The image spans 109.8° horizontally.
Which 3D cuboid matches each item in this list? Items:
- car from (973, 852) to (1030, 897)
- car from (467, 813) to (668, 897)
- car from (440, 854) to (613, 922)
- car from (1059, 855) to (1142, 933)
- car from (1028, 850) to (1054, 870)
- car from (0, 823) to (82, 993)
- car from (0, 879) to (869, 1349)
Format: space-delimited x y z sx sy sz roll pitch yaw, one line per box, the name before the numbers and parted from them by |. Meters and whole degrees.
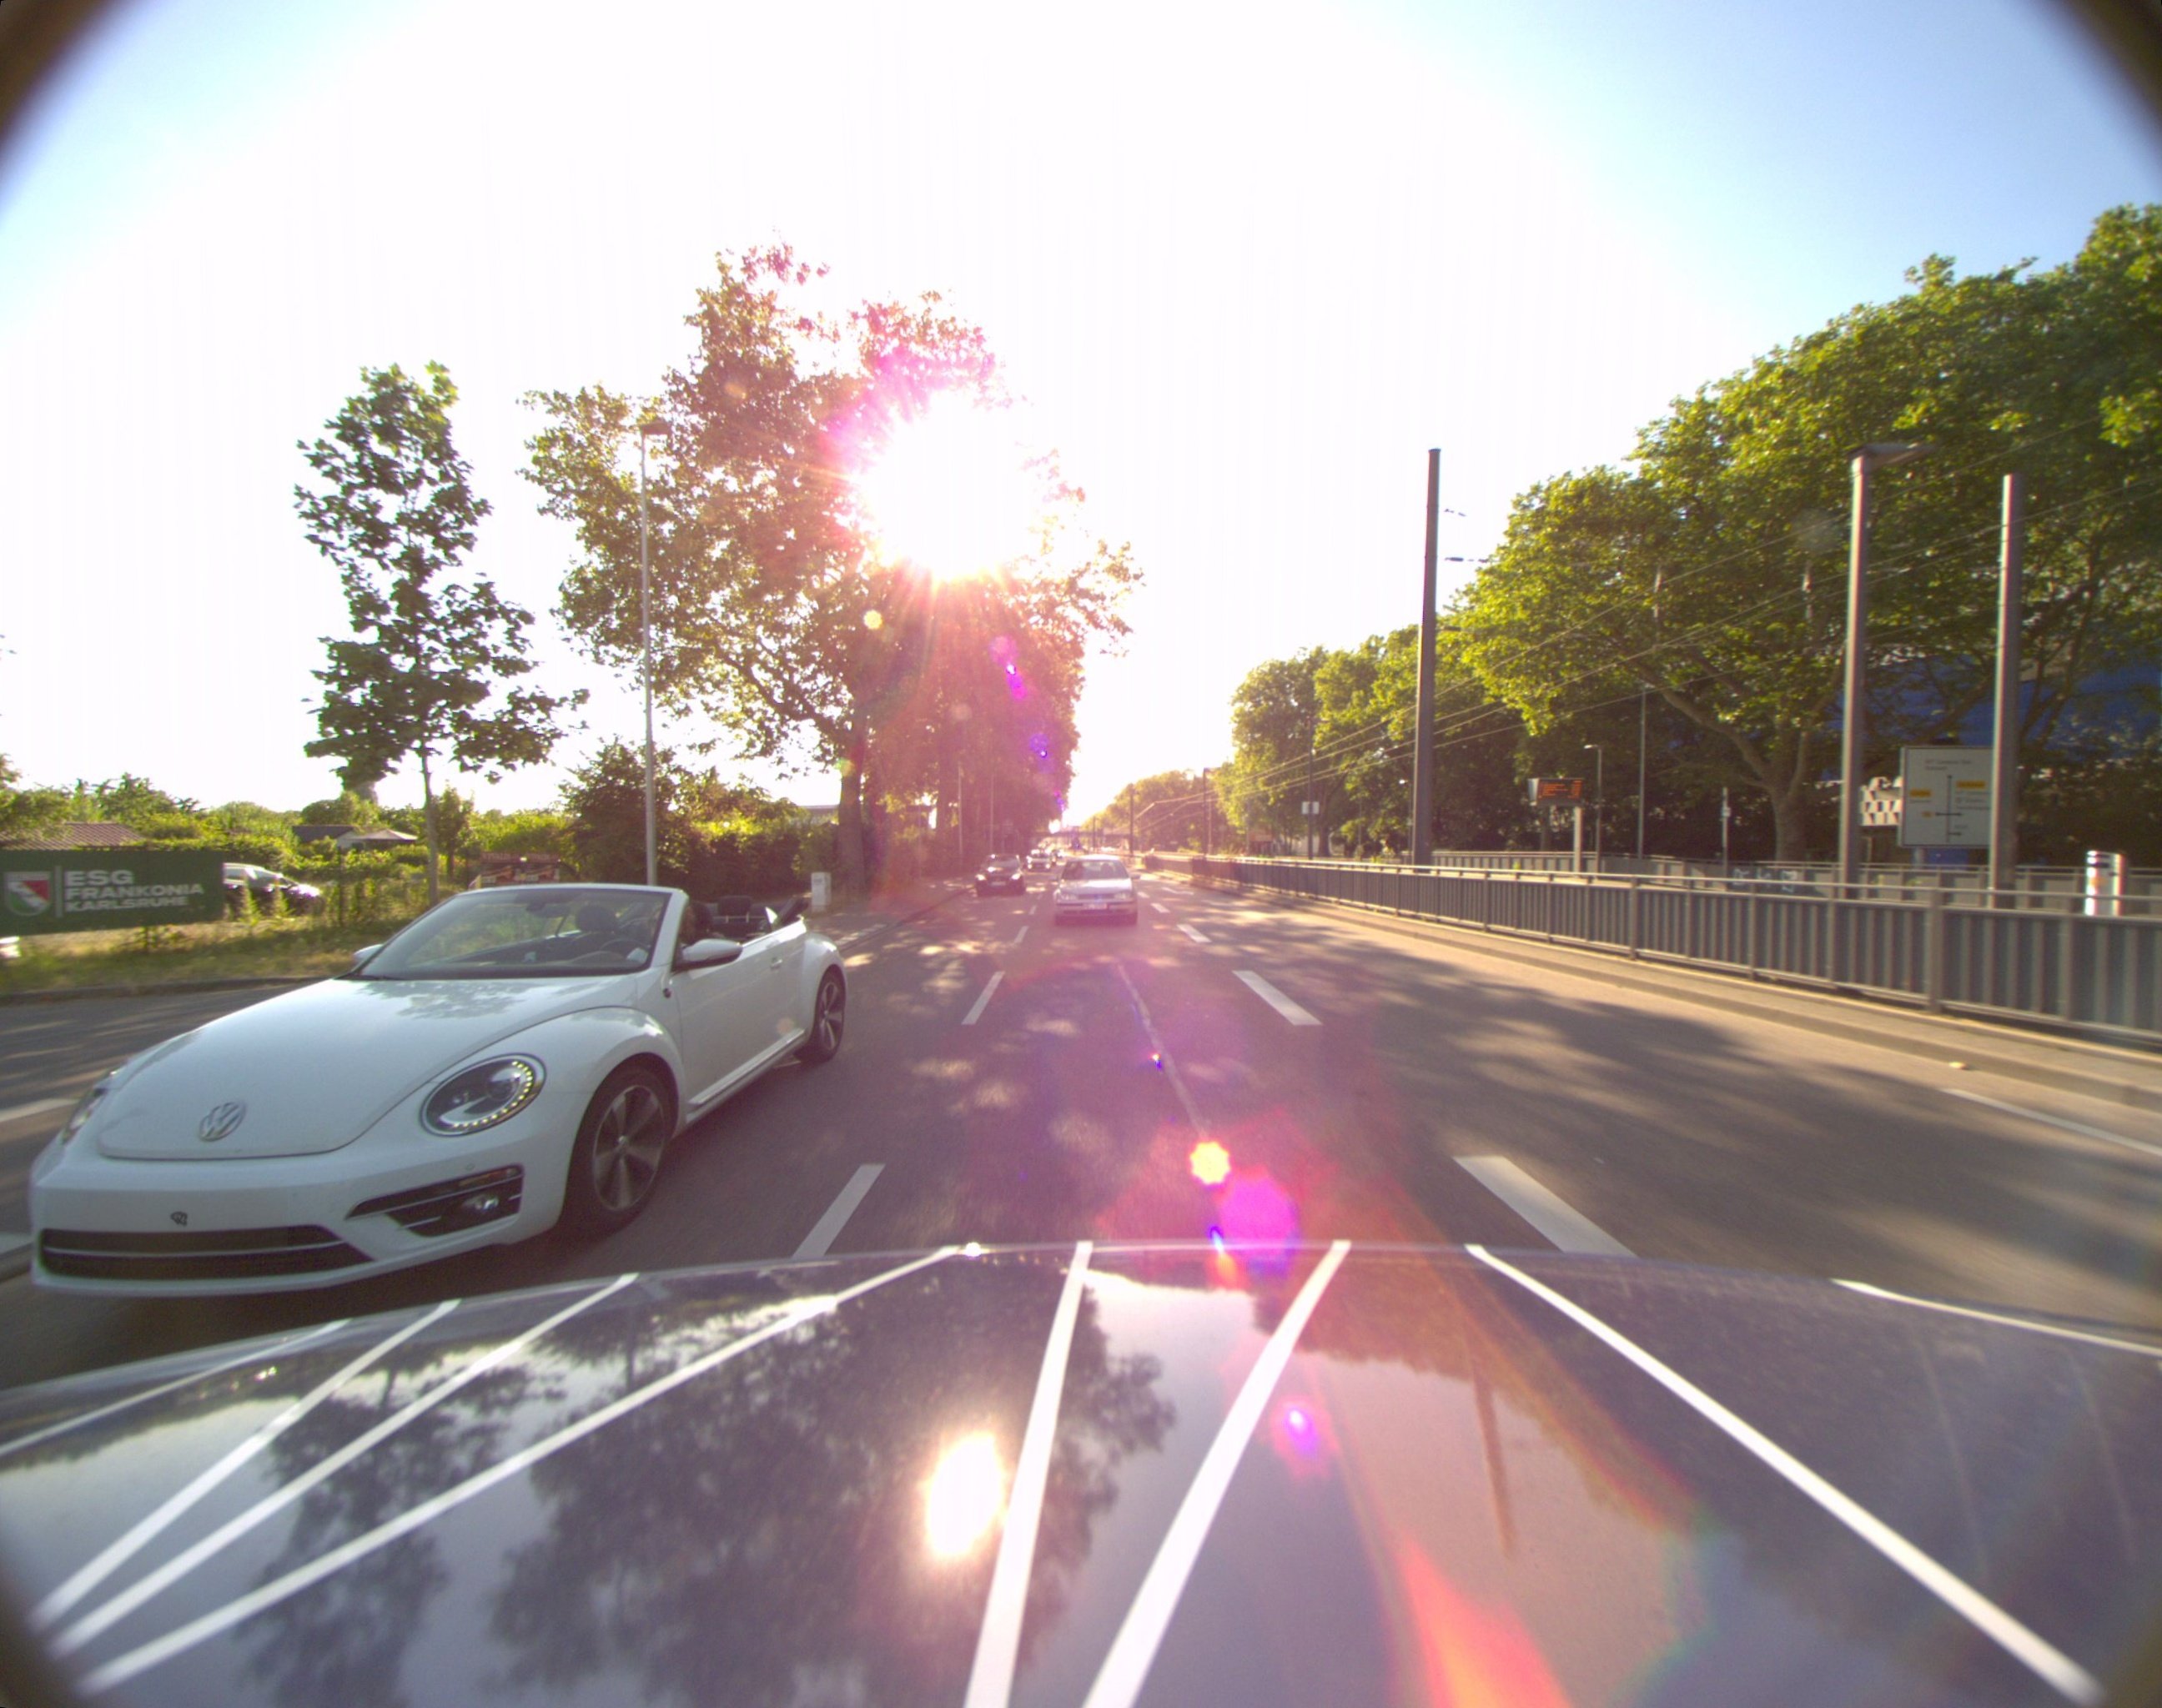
car | -2.924 0.709 28.725 1.741 1.502 3.999 -1 1 -1
car | -17.691 0.002 26.757 2.940 2.607 5.922 0 1 1
car | -15.035 0.845 20.934 2.000 1.638 4.153 0 1 -6
car | 0.328 0.791 16.963 1.603 1.440 3.798 -2 1 -2
car | -3.035 0.447 58.043 1.871 1.422 3.829 -2 1 -2
car | -15.479 0.744 8.473 5.352 2.010 2.102 -2 1 -5
car | -2.810 0.955 4.560 1.856 1.415 3.980 -1 1 1
